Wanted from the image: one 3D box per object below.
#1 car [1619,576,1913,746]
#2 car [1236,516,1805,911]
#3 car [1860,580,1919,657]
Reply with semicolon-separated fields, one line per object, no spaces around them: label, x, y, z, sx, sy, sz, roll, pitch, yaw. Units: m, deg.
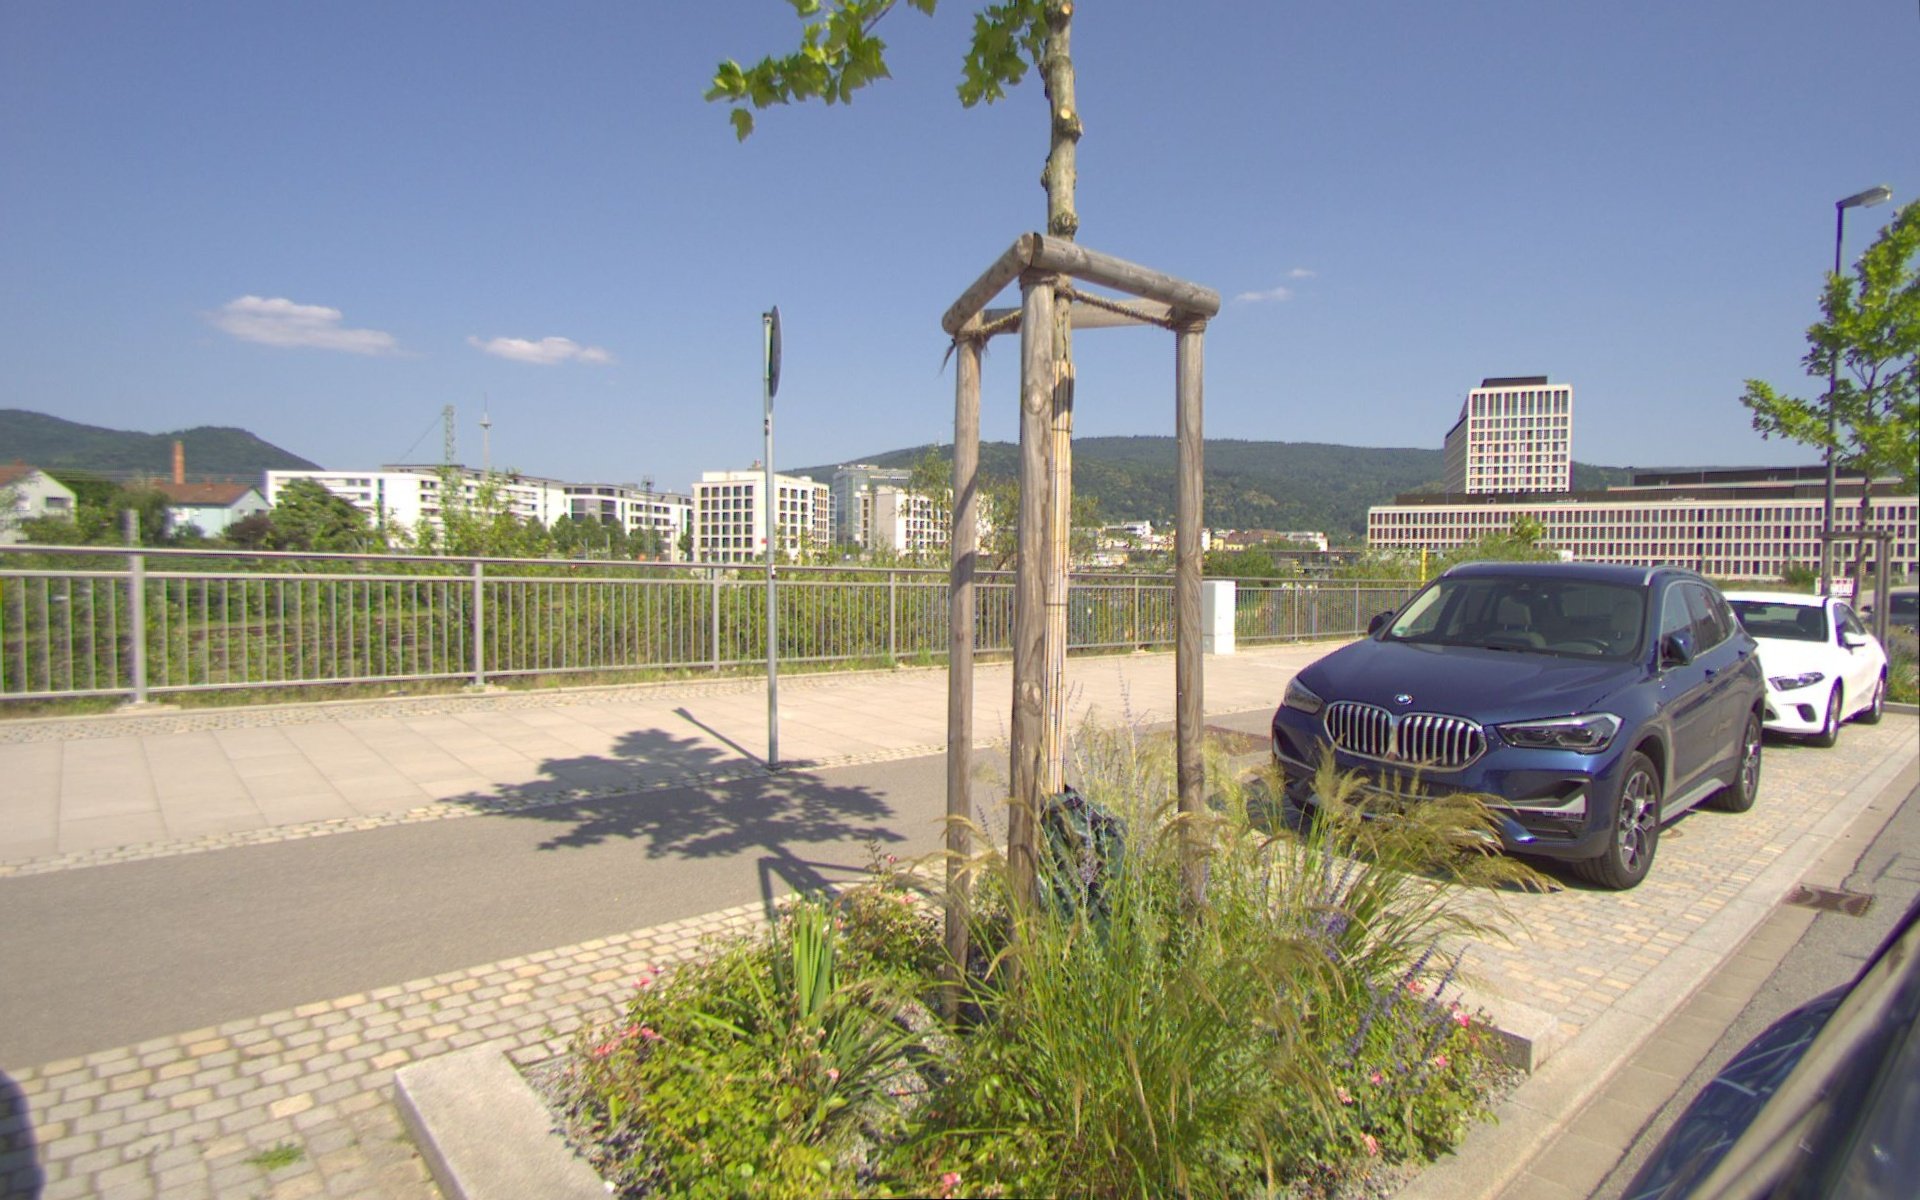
car;8.821;0.490;10.944;4.197;1.390;1.710;-1;5;-41
car;3.742;0.406;6.416;4.197;1.703;1.807;-1;4;-41
car;20.186;0.361;20.946;3.849;1.449;1.808;-1;5;-41
